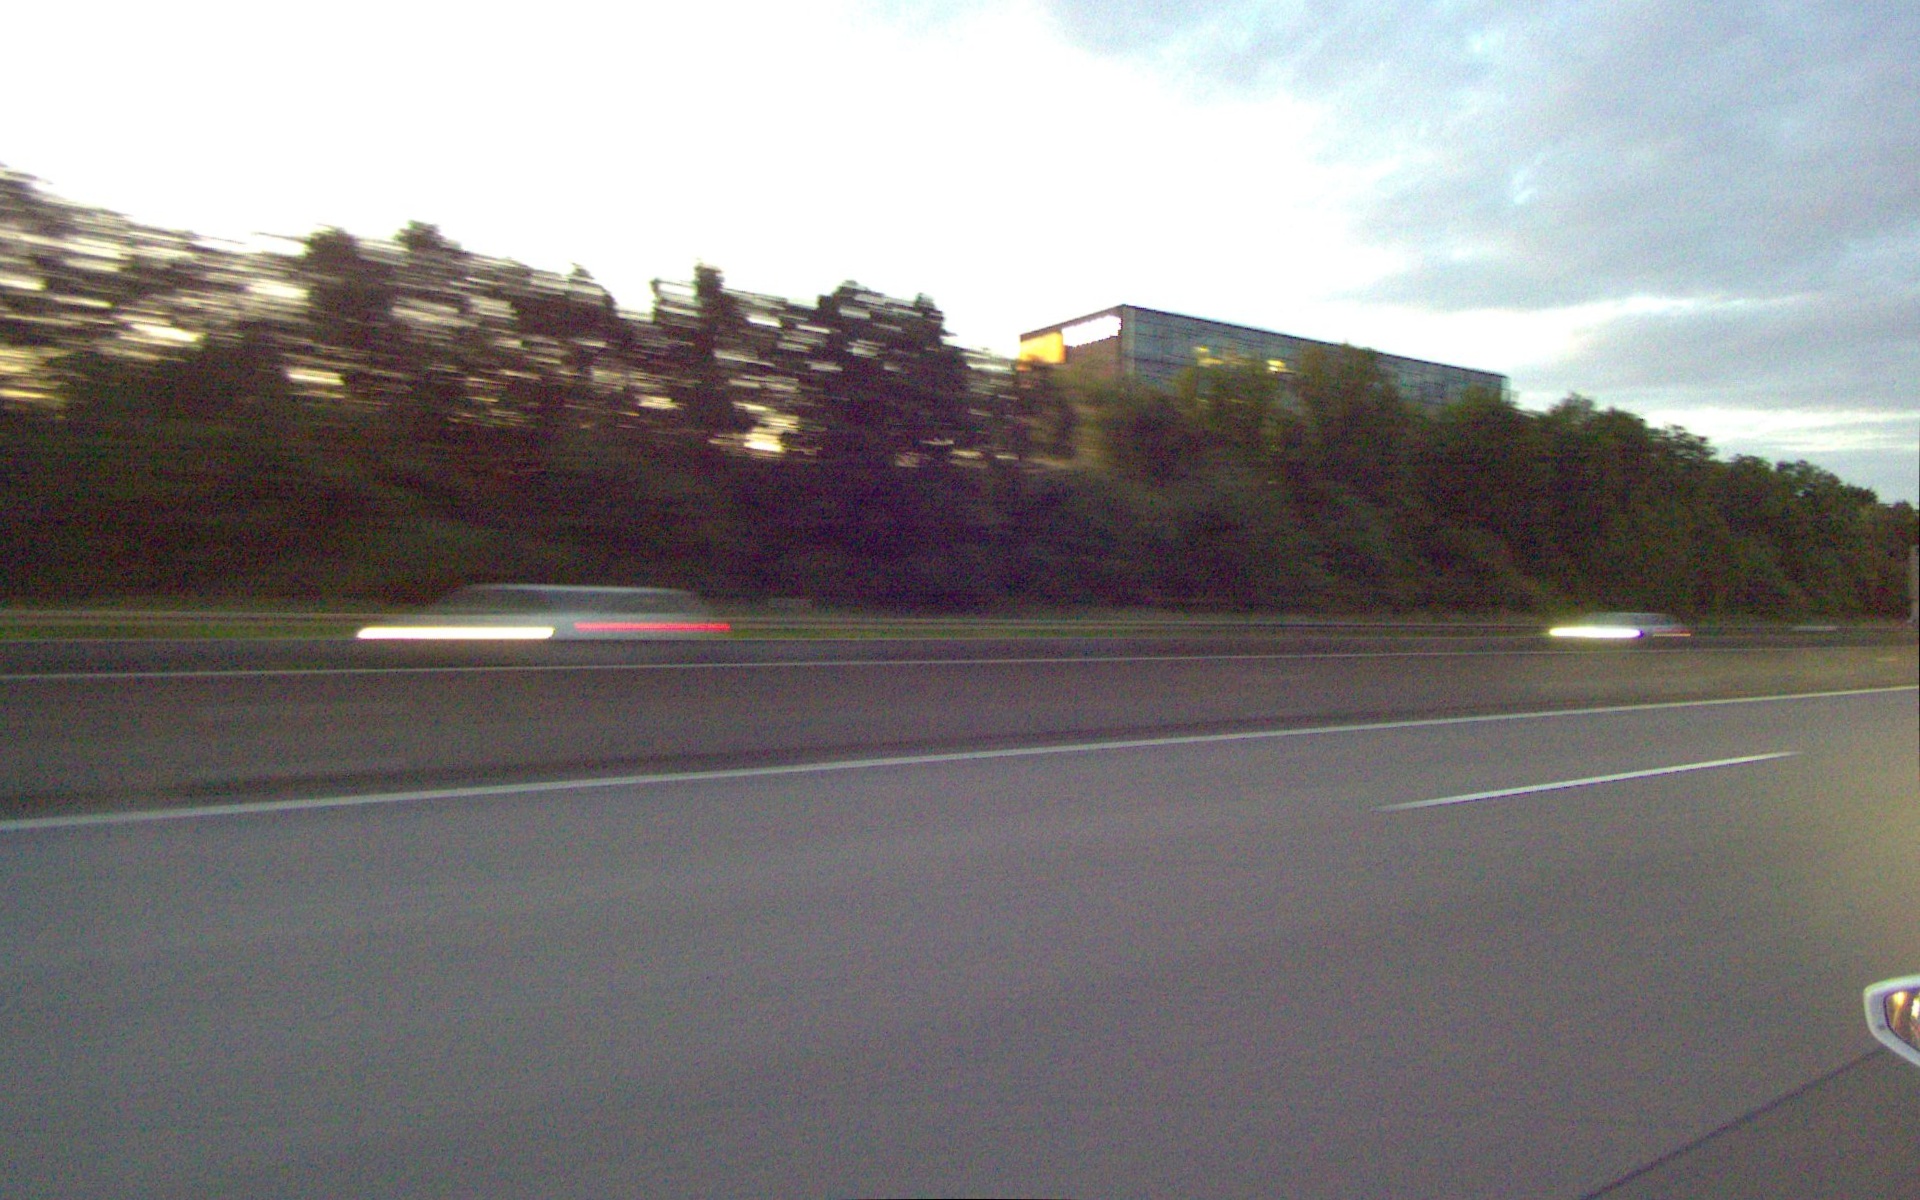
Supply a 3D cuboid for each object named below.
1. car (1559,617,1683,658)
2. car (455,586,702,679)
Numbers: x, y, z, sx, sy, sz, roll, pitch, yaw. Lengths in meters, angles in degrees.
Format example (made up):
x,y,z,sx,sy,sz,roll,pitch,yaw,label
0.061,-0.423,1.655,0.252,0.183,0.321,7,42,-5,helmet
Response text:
x,y,z,sx,sy,sz,roll,pitch,yaw,label
23.899,1.344,36.269,4.853,1.354,1.825,2,0,-31,car
-6.705,0.548,17.680,3.790,1.472,1.984,2,0,-30,car
